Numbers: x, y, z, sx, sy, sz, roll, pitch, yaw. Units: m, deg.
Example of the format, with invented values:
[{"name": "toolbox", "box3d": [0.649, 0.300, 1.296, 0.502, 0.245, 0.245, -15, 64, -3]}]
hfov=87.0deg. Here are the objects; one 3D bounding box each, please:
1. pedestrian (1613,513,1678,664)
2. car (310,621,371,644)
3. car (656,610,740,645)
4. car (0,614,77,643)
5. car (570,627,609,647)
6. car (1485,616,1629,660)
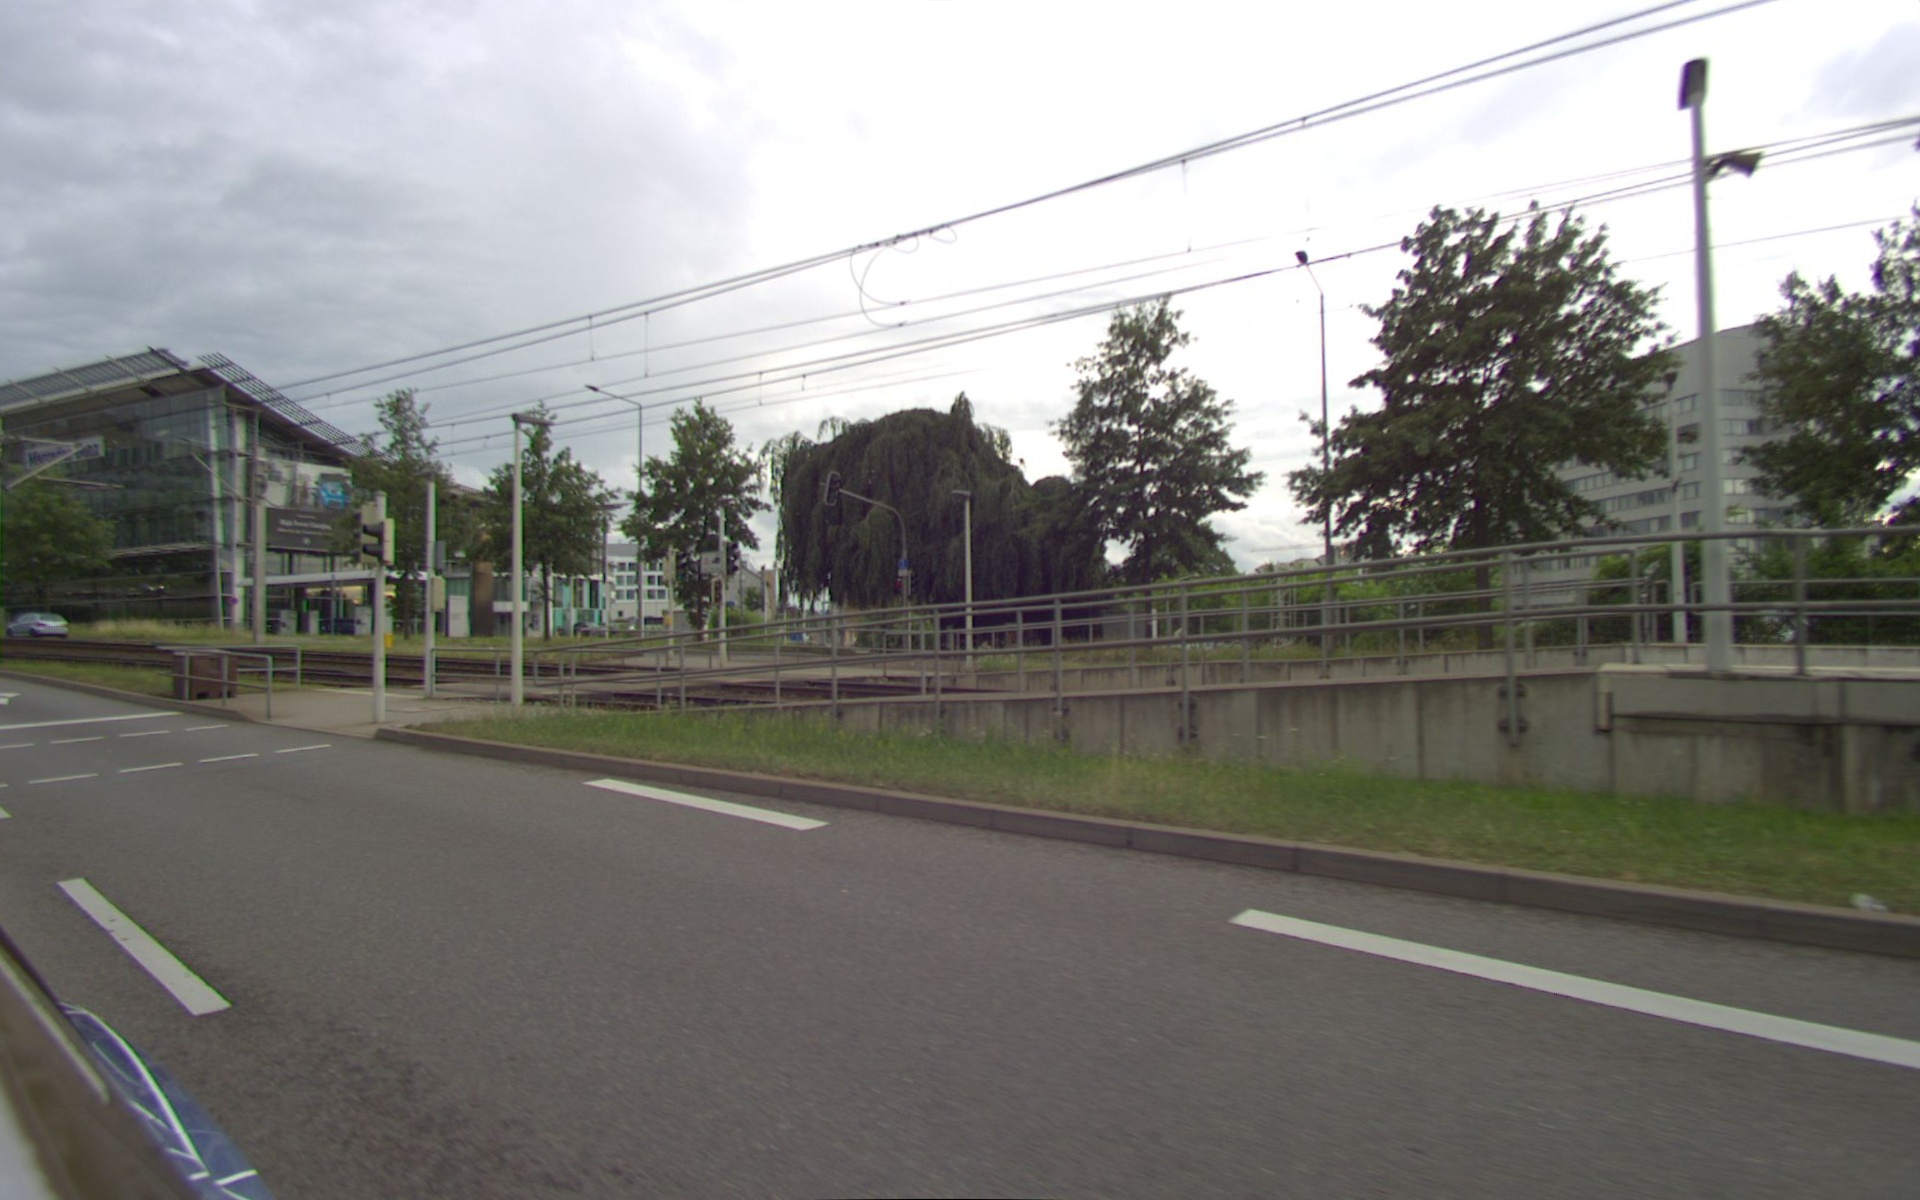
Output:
[{"name": "pedestrian", "box3d": [9.211, -0.155, 13.621, 0.662, 1.967, 0.545, 1, 1, 32]}, {"name": "car", "box3d": [-52.217, 2.726, 85.376, 3.940, 1.864, 1.897, 1, 1, -4]}, {"name": "car", "box3d": [-13.670, 1.396, 52.783, 3.982, 1.663, 1.981, 1, 1, 28]}, {"name": "car", "box3d": [-57.015, 1.756, 62.629, 3.971, 1.692, 1.986, -1, 0, 21]}, {"name": "car", "box3d": [-36.089, 3.596, 98.498, 3.739, 1.723, 1.761, 1, 1, 35]}, {"name": "car", "box3d": [21.178, 1.330, 36.002, 3.938, 1.425, 2.003, 1, 1, -6]}]
